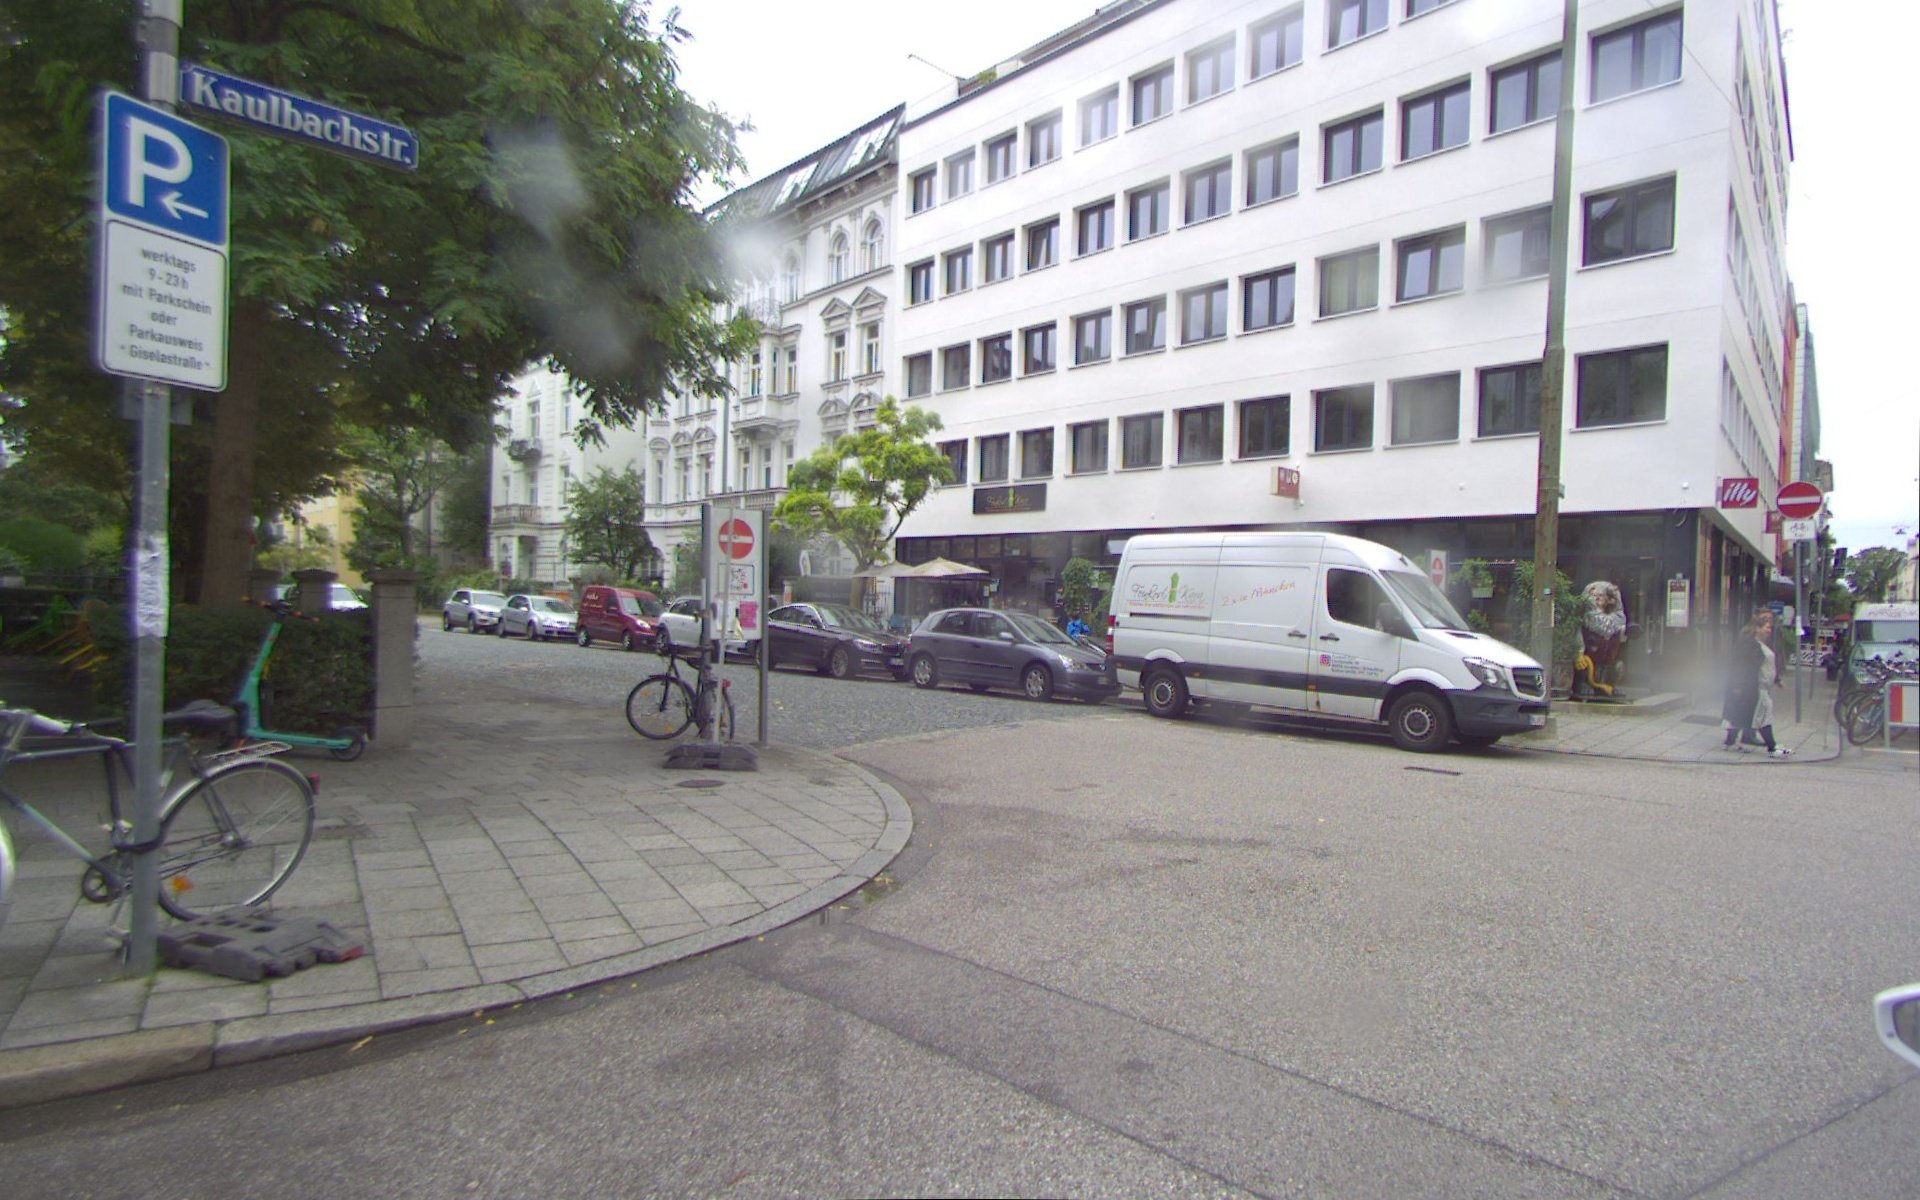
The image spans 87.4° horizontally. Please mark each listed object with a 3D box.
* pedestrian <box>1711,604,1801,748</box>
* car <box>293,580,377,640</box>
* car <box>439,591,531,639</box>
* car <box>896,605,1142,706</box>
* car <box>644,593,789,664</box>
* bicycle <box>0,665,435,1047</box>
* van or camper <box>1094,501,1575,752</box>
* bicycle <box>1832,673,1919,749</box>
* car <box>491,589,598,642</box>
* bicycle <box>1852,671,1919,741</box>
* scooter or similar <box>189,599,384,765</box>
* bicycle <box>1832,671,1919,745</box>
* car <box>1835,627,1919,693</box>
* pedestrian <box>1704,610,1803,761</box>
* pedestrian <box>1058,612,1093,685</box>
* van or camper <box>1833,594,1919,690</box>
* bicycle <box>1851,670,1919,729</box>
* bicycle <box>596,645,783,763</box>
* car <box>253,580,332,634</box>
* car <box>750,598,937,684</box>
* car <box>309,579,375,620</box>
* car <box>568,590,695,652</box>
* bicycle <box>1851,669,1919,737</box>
[{"bbox_3d":[10.620,0.988,13.430,0.766,1.808,0.618,3,4,30],"label":"pedestrian"},{"bbox_3d":[-19.041,0.300,30.540,1.894,1.629,4.097,4,-2,-35],"label":"car"},{"bbox_3d":[-17.873,0.513,37.715,1.899,1.629,4.084,-2,2,-44],"label":"car"},{"bbox_3d":[0.936,0.921,17.453,4.008,1.447,1.790,2,-2,43],"label":"car"},{"bbox_3d":[-6.146,0.681,25.031,1.786,1.564,4.088,3,-1,-41],"label":"car"},{"bbox_3d":[-3.055,0.845,3.792,0.883,1.059,1.653,4,1,32],"label":"bicycle"},{"bbox_3d":[4.736,0.289,13.656,1.860,2.712,5.848,4,-2,-43],"label":"van or camper"},{"bbox_3d":[13.529,1.592,14.232,1.733,0.981,0.592,1,0,40],"label":"bicycle"},{"bbox_3d":[-13.864,0.487,33.403,1.900,1.629,4.084,2,0,-44],"label":"car"},{"bbox_3d":[14.590,1.618,15.106,1.715,0.981,0.541,1,0,40],"label":"bicycle"},{"bbox_3d":[-5.327,0.636,8.013,1.170,1.232,0.553,2,1,-23],"label":"scooter or similar"},{"bbox_3d":[13.976,1.603,14.752,1.715,0.981,0.541,1,0,40],"label":"bicycle"},{"bbox_3d":[24.024,1.507,26.099,1.812,1.555,3.977,1,0,43],"label":"car"},{"bbox_3d":[10.029,1.045,12.734,0.779,1.770,0.770,3,4,30],"label":"pedestrian"},{"bbox_3d":[2.470,1.039,21.554,0.580,1.501,0.652,4,0,-1],"label":"pedestrian"},{"bbox_3d":[27.228,1.196,29.619,1.972,2.573,4.732,1,0,44],"label":"van or camper"},{"bbox_3d":[15.946,1.666,16.520,1.888,0.874,0.616,1,0,39],"label":"bicycle"},{"bbox_3d":[-2.651,0.977,9.856,1.536,0.959,0.898,3,-1,29],"label":"bicycle"},{"bbox_3d":[-23.652,0.204,35.539,1.832,1.796,3.951,-1,1,-41],"label":"car"},{"bbox_3d":[-2.506,0.808,20.941,1.787,1.564,4.086,4,-2,-42],"label":"car"},{"bbox_3d":[-32.664,-0.030,53.053,3.943,2.040,1.989,1,0,43],"label":"car"},{"bbox_3d":[-9.525,0.563,28.972,1.900,1.629,4.084,2,0,-44],"label":"car"},{"bbox_3d":[14.994,1.623,15.583,1.715,0.981,0.541,1,0,40],"label":"bicycle"}]
